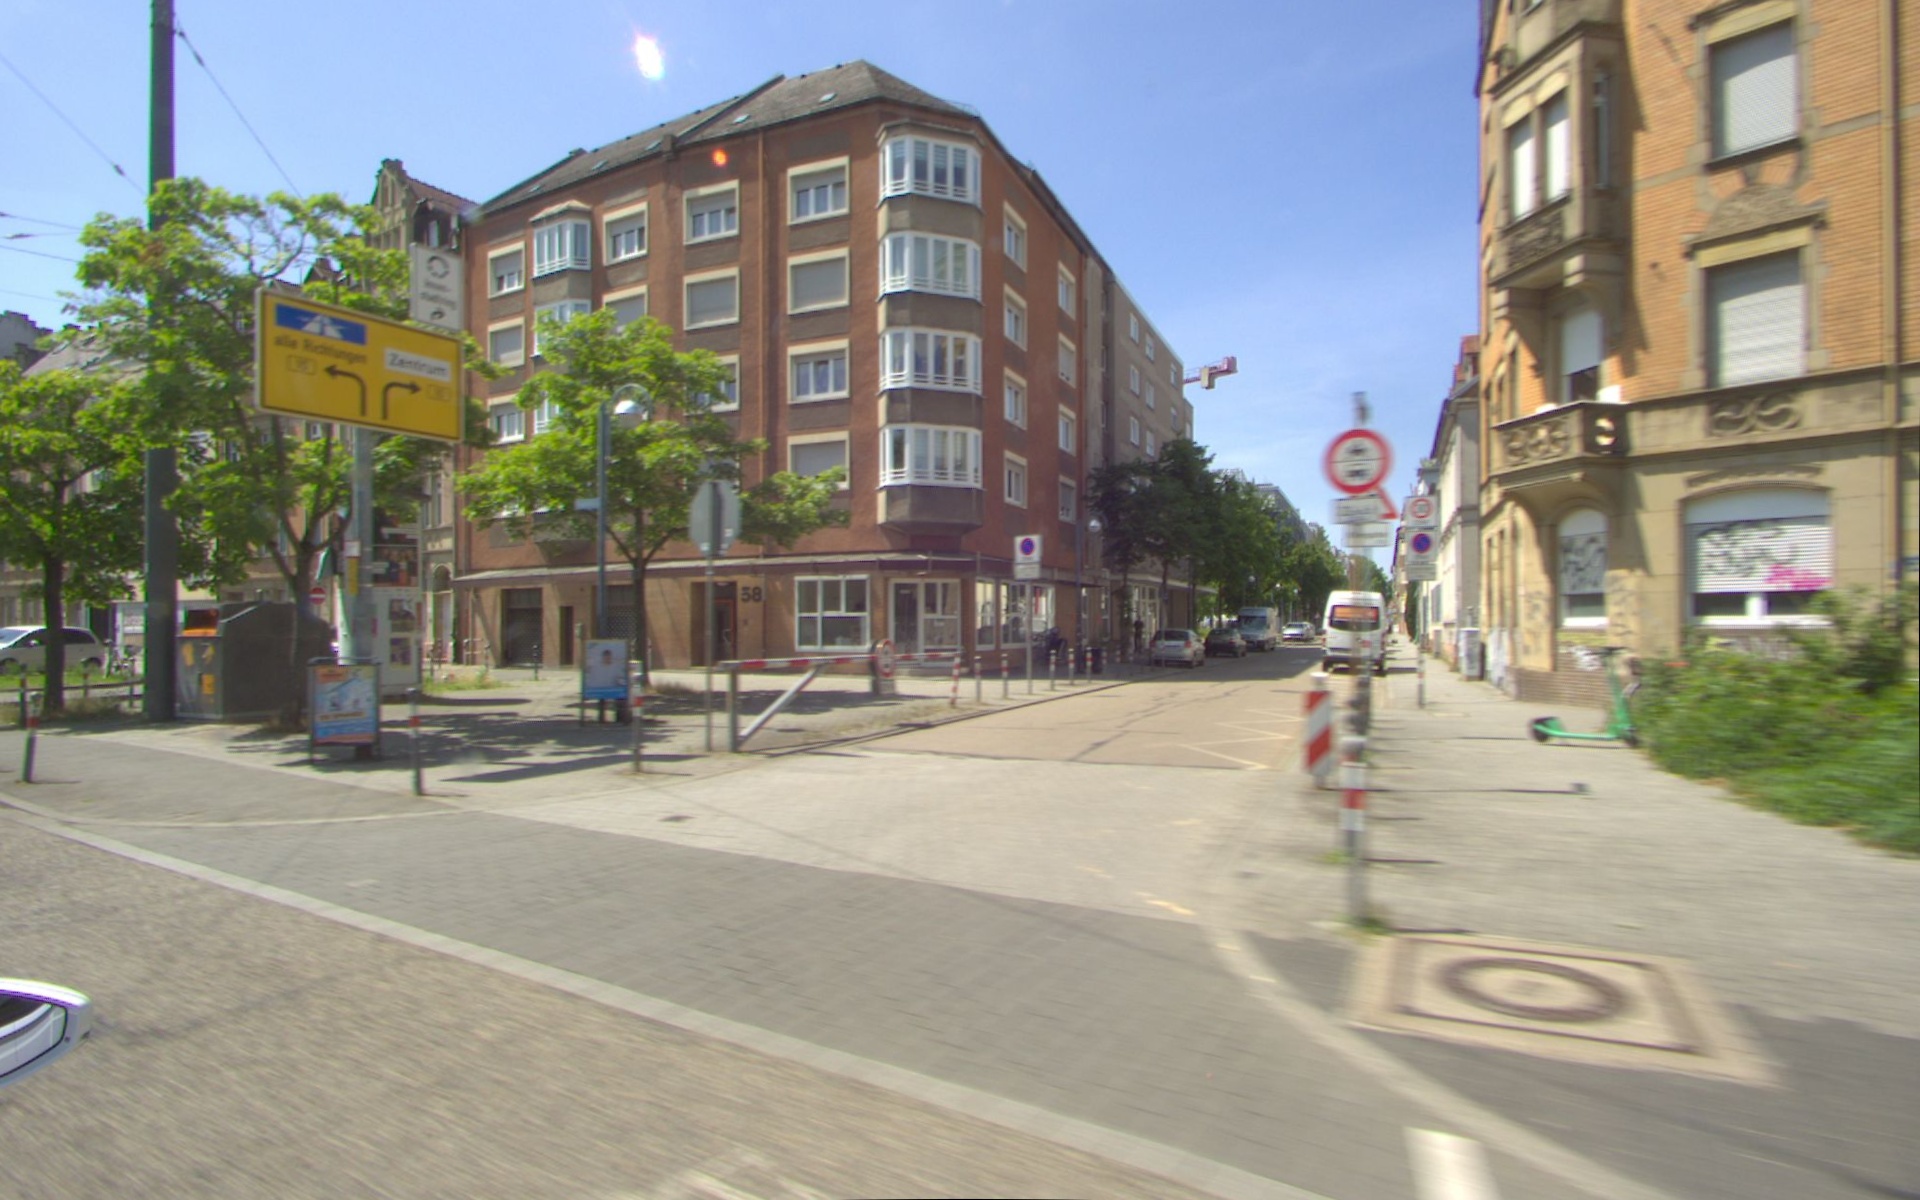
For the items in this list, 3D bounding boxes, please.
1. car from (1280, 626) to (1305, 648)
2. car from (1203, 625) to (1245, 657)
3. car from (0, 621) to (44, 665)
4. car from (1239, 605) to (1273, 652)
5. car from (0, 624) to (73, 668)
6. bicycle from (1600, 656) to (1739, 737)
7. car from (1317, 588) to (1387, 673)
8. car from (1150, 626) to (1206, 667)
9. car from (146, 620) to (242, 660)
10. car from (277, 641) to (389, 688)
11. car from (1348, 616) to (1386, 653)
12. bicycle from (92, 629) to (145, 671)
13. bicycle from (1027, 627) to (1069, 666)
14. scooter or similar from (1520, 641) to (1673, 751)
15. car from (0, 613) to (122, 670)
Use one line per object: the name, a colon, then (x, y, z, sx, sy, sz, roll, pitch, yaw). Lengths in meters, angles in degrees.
car: (28.983, 3.260, 87.235, 1.793, 1.838, 3.992, -1, -3, 22)
car: (12.969, 2.019, 49.063, 1.633, 1.511, 3.827, -1, -3, 21)
car: (-34.203, 1.434, 33.869, 1.927, 1.515, 4.636, 0, -3, 5)
car: (17.497, 1.738, 59.168, 1.633, 2.672, 3.827, 0, -3, 21)
car: (-31.445, 1.477, 32.296, 1.789, 1.417, 4.002, 0, -3, 8)
bicycle: (9.357, 1.243, 13.235, 1.470, 1.004, 0.488, -2, -3, 39)
car: (13.350, 1.086, 33.971, 1.967, 2.654, 5.206, -1, -3, 24)
car: (8.319, 1.783, 38.066, 1.573, 1.482, 3.438, -1, -3, 21)
car: (-33.445, 1.754, 43.710, 3.938, 1.705, 1.819, -1, -3, 28)
car: (-23.229, 2.355, 37.052, 4.540, 1.620, 1.988, -2, -3, 37)
car: (24.040, 2.058, 59.061, 1.967, 2.061, 4.817, -1, -3, 24)
bicycle: (-25.210, 1.513, 30.040, 0.730, 1.208, 2.350, 1, -3, -29)
bicycle: (3.125, 1.650, 35.163, 0.693, 1.303, 2.717, -1, -3, 22)
scooter or similar: (7.449, 1.095, 11.754, 1.470, 1.220, 0.488, -2, -3, 39)
car: (-28.848, 1.293, 30.878, 1.961, 1.652, 4.415, 0, -3, 7)
